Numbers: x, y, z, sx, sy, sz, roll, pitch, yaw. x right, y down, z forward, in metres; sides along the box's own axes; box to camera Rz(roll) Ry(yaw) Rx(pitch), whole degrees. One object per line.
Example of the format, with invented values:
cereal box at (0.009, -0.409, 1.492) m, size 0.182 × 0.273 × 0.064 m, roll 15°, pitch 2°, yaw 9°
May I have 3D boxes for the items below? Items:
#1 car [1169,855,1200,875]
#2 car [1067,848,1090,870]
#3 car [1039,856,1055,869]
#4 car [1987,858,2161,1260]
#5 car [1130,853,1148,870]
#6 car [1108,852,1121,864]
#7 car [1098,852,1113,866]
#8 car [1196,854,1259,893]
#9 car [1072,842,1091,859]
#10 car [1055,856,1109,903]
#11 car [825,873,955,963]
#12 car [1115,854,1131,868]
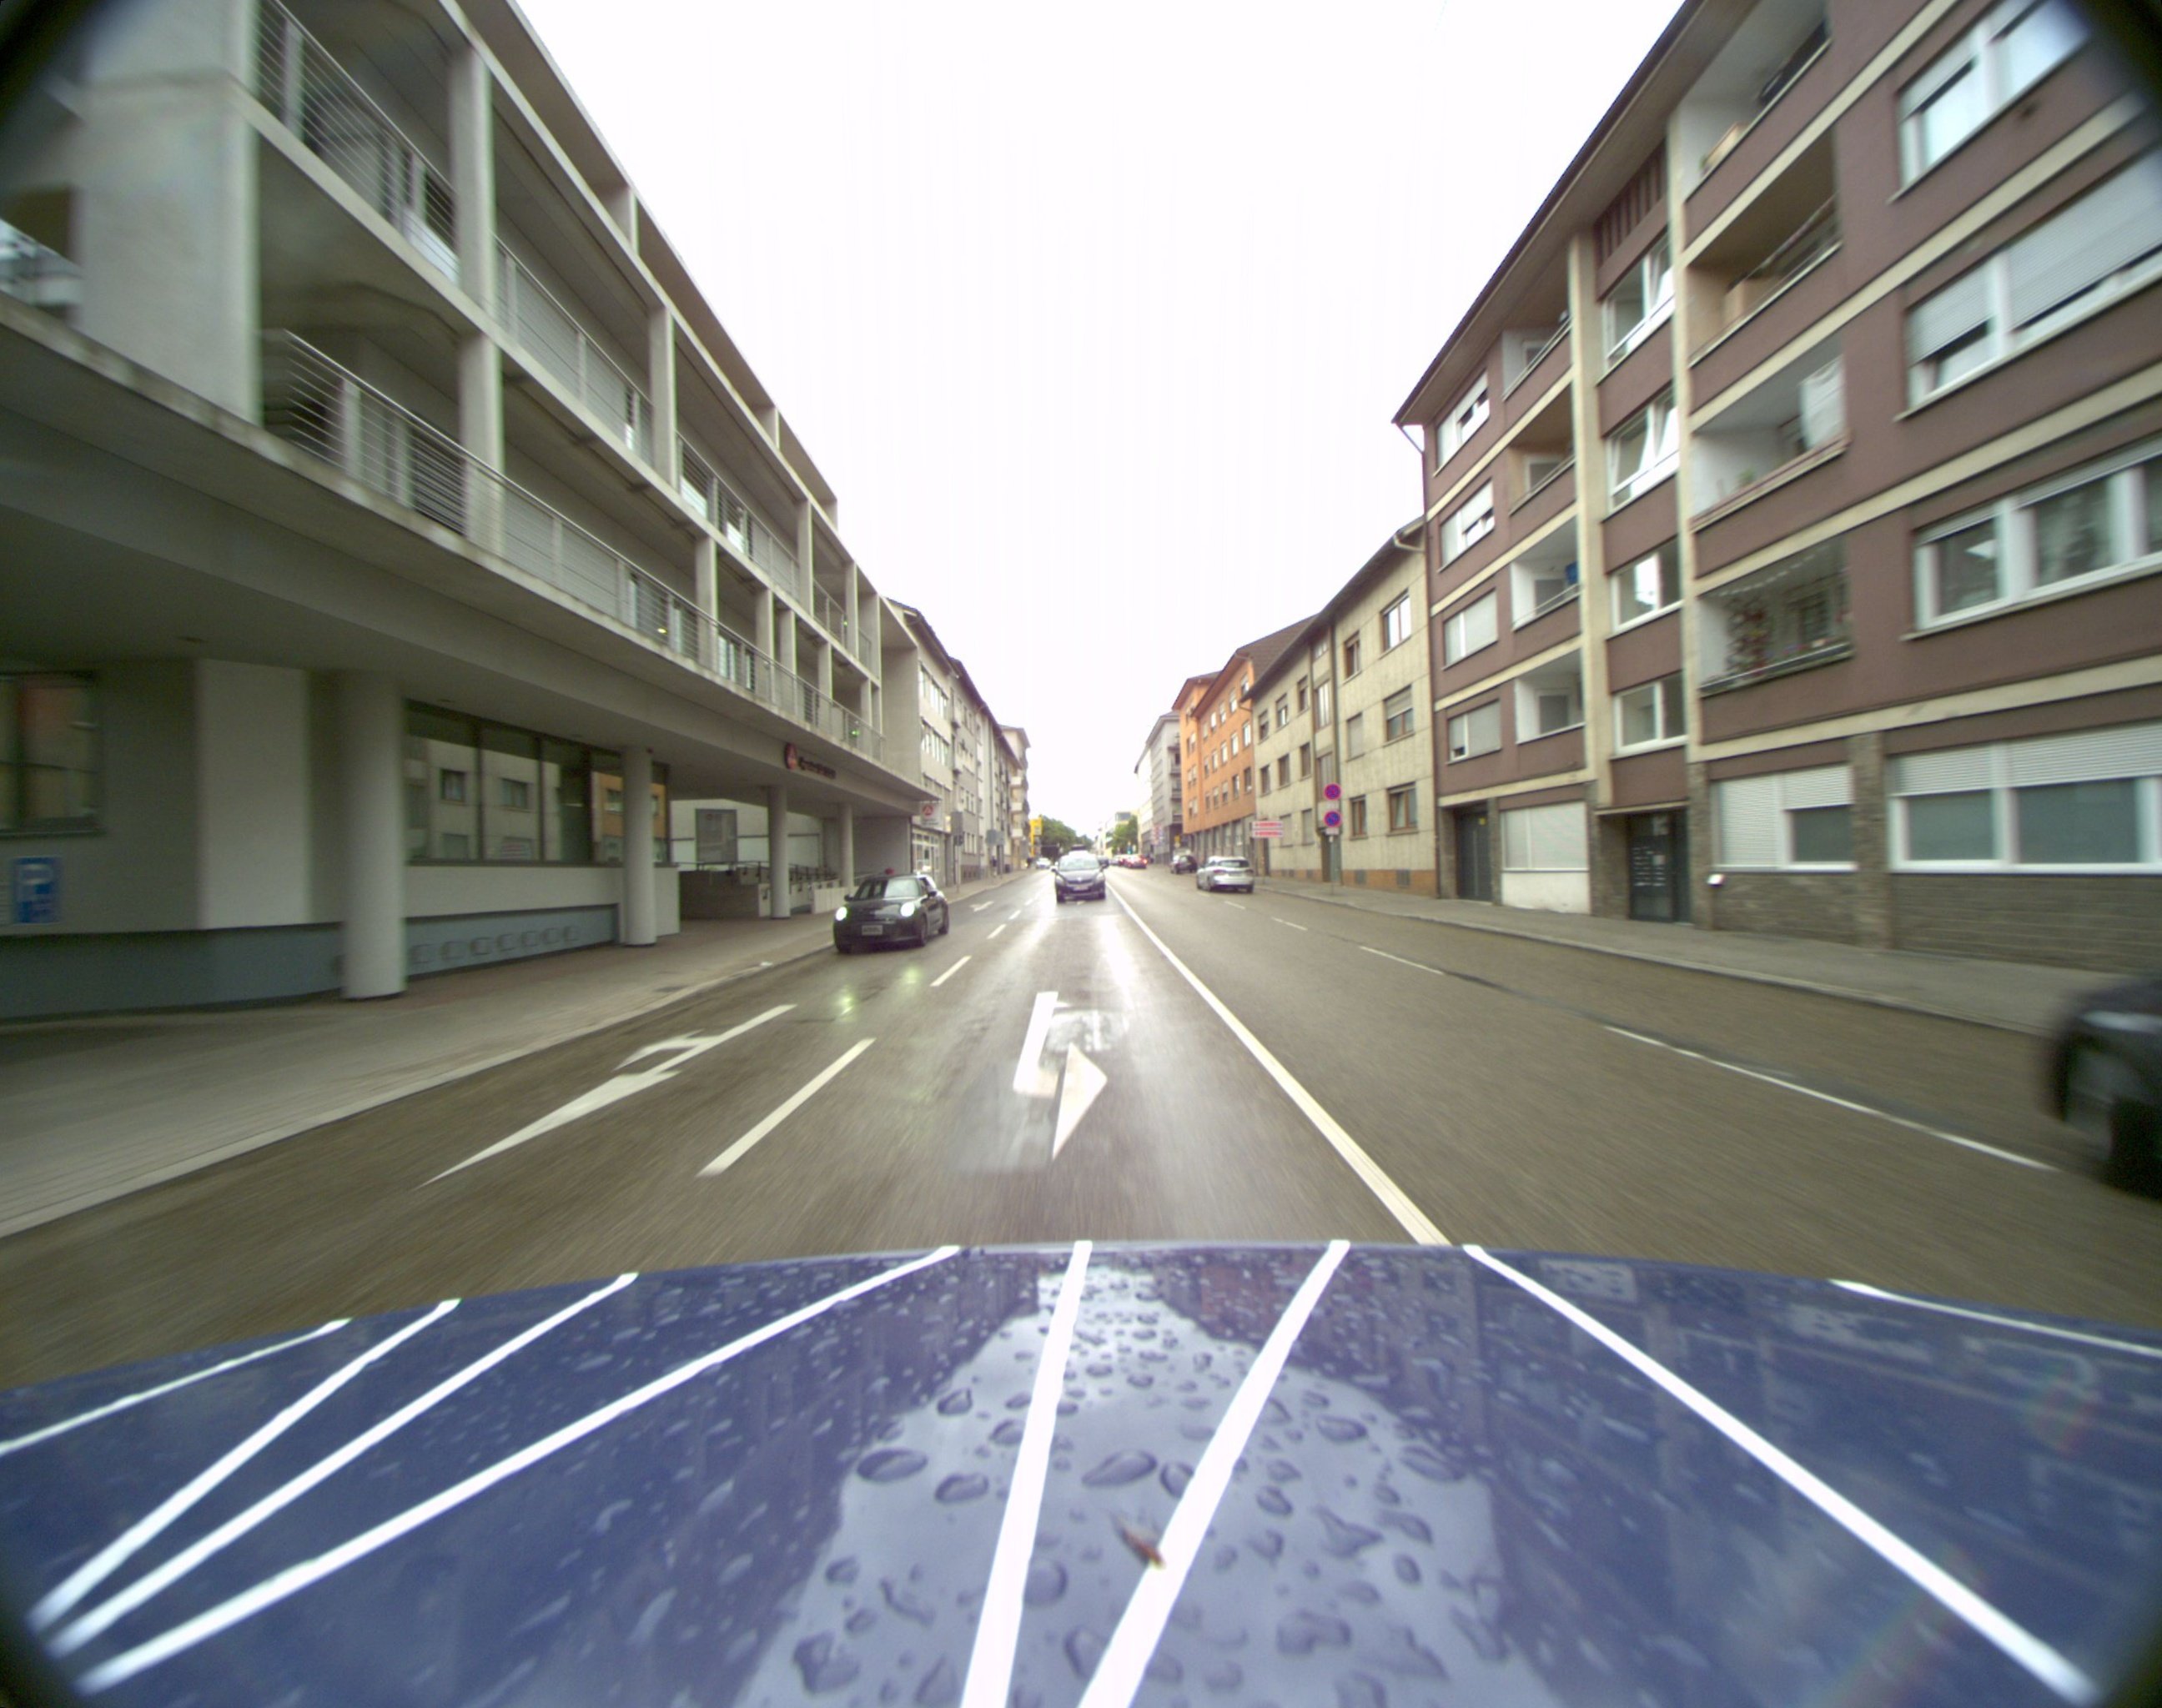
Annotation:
car at (8.284, 0.851, 60.928) m, size 1.708 × 1.447 × 3.804 m, roll -3°, pitch 1°, yaw -3°
car at (-0.209, 0.397, 63.876) m, size 1.721 × 1.652 × 3.679 m, roll -3°, pitch 1°, yaw 2°
car at (-4.601, 1.132, 103.479) m, size 1.722 × 1.652 × 3.679 m, roll -3°, pitch 1°, yaw 2°
car at (4.718, 0.831, 1.596) m, size 1.995 × 1.566 × 4.315 m, roll -2°, pitch 0°, yaw 26°
car at (6.220, 0.812, 82.293) m, size 1.722 × 1.652 × 3.679 m, roll -3°, pitch 1°, yaw 2°
car at (4.869, 0.586, 109.430) m, size 1.722 × 1.652 × 3.679 m, roll -3°, pitch 1°, yaw 2°
car at (3.072, 0.648, 96.139) m, size 1.722 × 1.652 × 3.679 m, roll -3°, pitch 1°, yaw 2°
car at (5.999, 0.749, 31.504) m, size 1.732 × 1.452 × 4.071 m, roll 1°, pitch 1°, yaw -1°
car at (0.056, -0.387, 81.245) m, size 1.851 × 1.652 × 3.679 m, roll -3°, pitch 1°, yaw 2°
car at (0.010, 0.871, 27.928) m, size 1.732 × 1.472 × 4.071 m, roll -4°, pitch 1°, yaw -1°
car at (-3.837, 1.220, 15.998) m, size 1.665 × 1.412 × 4.071 m, roll -4°, pitch 1°, yaw -1°
car at (5.247, 0.836, 95.303) m, size 1.722 × 1.652 × 3.679 m, roll -3°, pitch 1°, yaw 2°
